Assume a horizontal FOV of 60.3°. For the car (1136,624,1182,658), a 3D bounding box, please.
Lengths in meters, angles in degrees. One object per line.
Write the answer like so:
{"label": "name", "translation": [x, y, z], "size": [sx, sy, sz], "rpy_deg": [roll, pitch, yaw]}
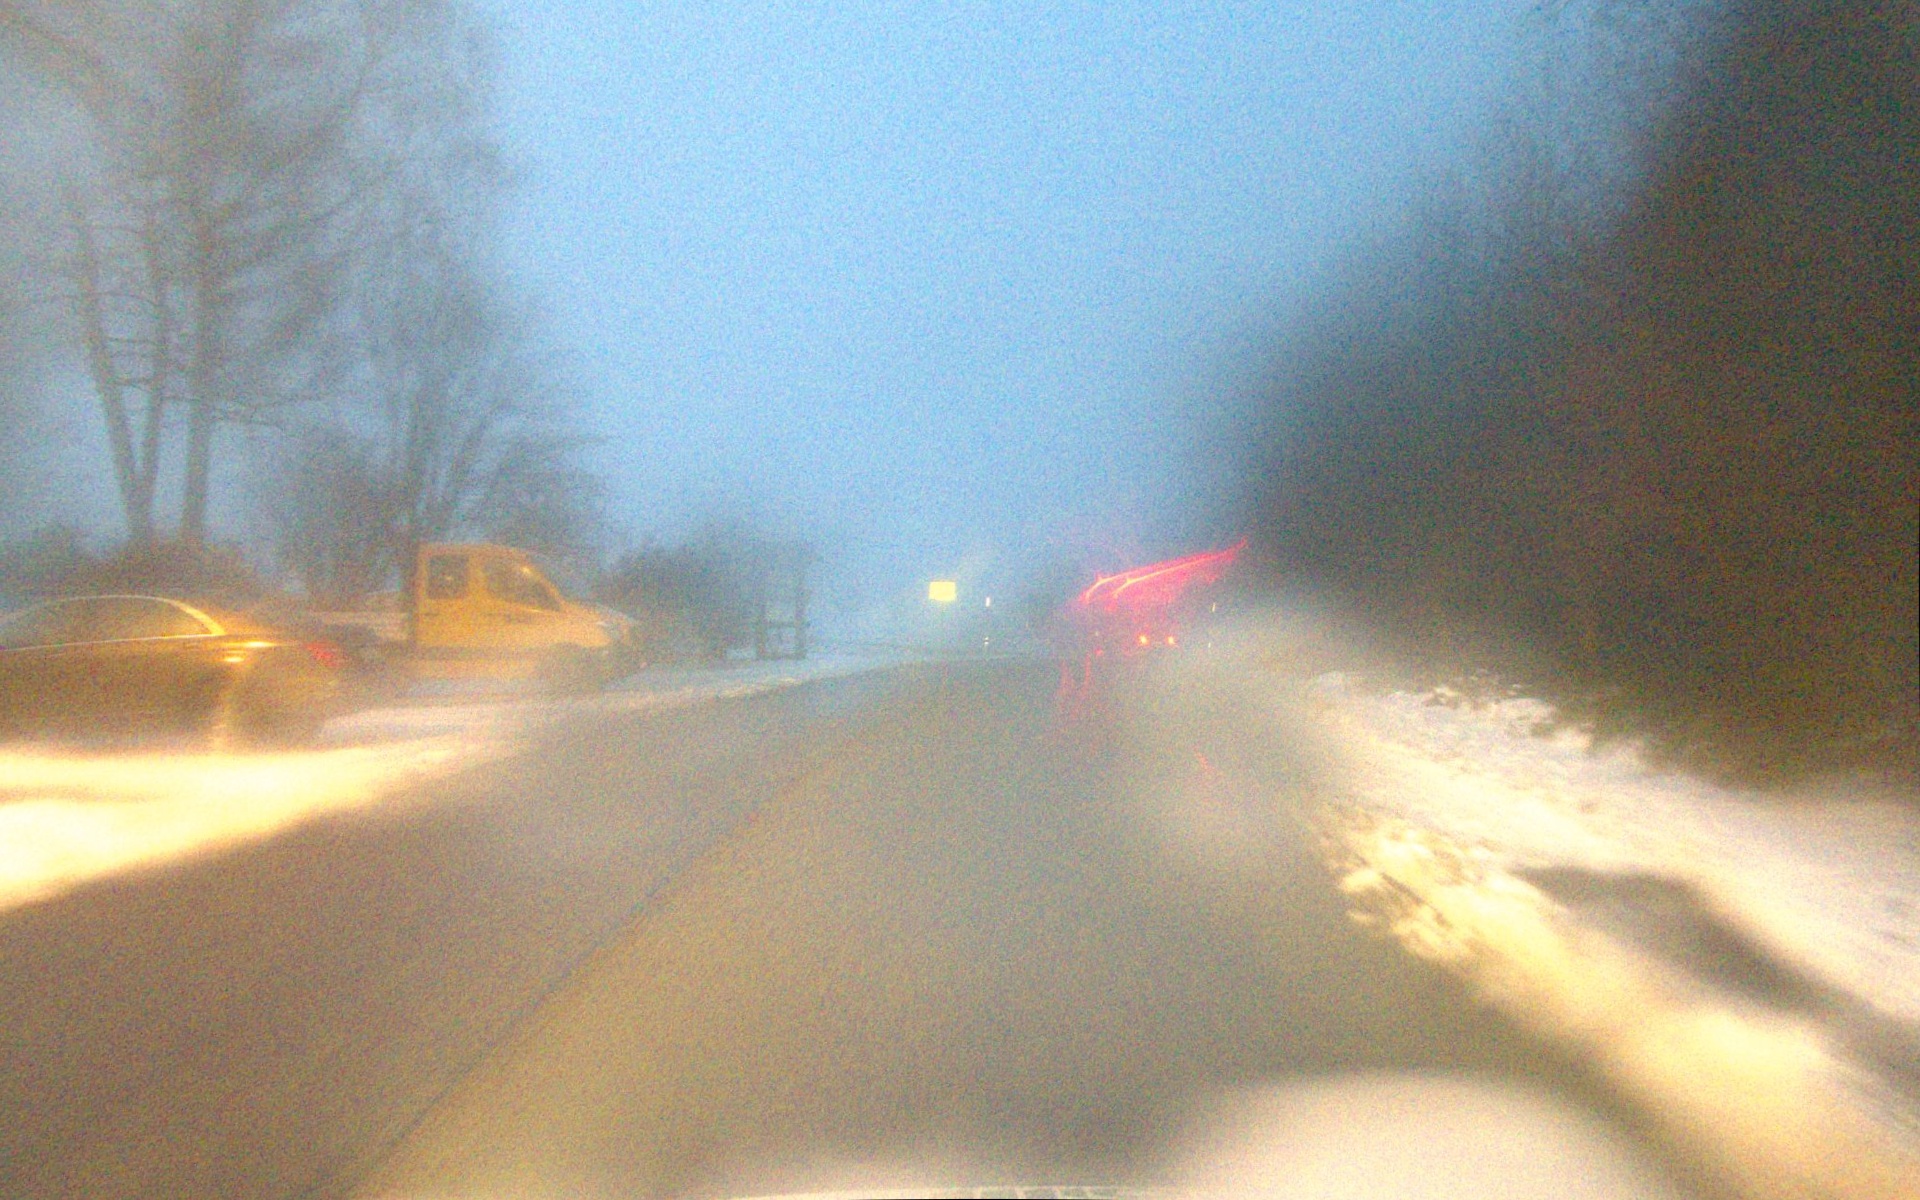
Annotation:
{"label": "car", "translation": [9.162, 1.909, 76.391], "size": [1.951, 1.445, 4.001], "rpy_deg": [1, -3, 5]}

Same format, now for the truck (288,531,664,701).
{"label": "truck", "translation": [-7.319, 0.228, 25.471], "size": [5.157, 2.343, 1.999], "rpy_deg": [-2, 0, -4]}

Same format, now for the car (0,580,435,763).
{"label": "car", "translation": [-7.714, 0.647, 15.655], "size": [4.790, 1.511, 2.122], "rpy_deg": [-2, 0, -3]}
